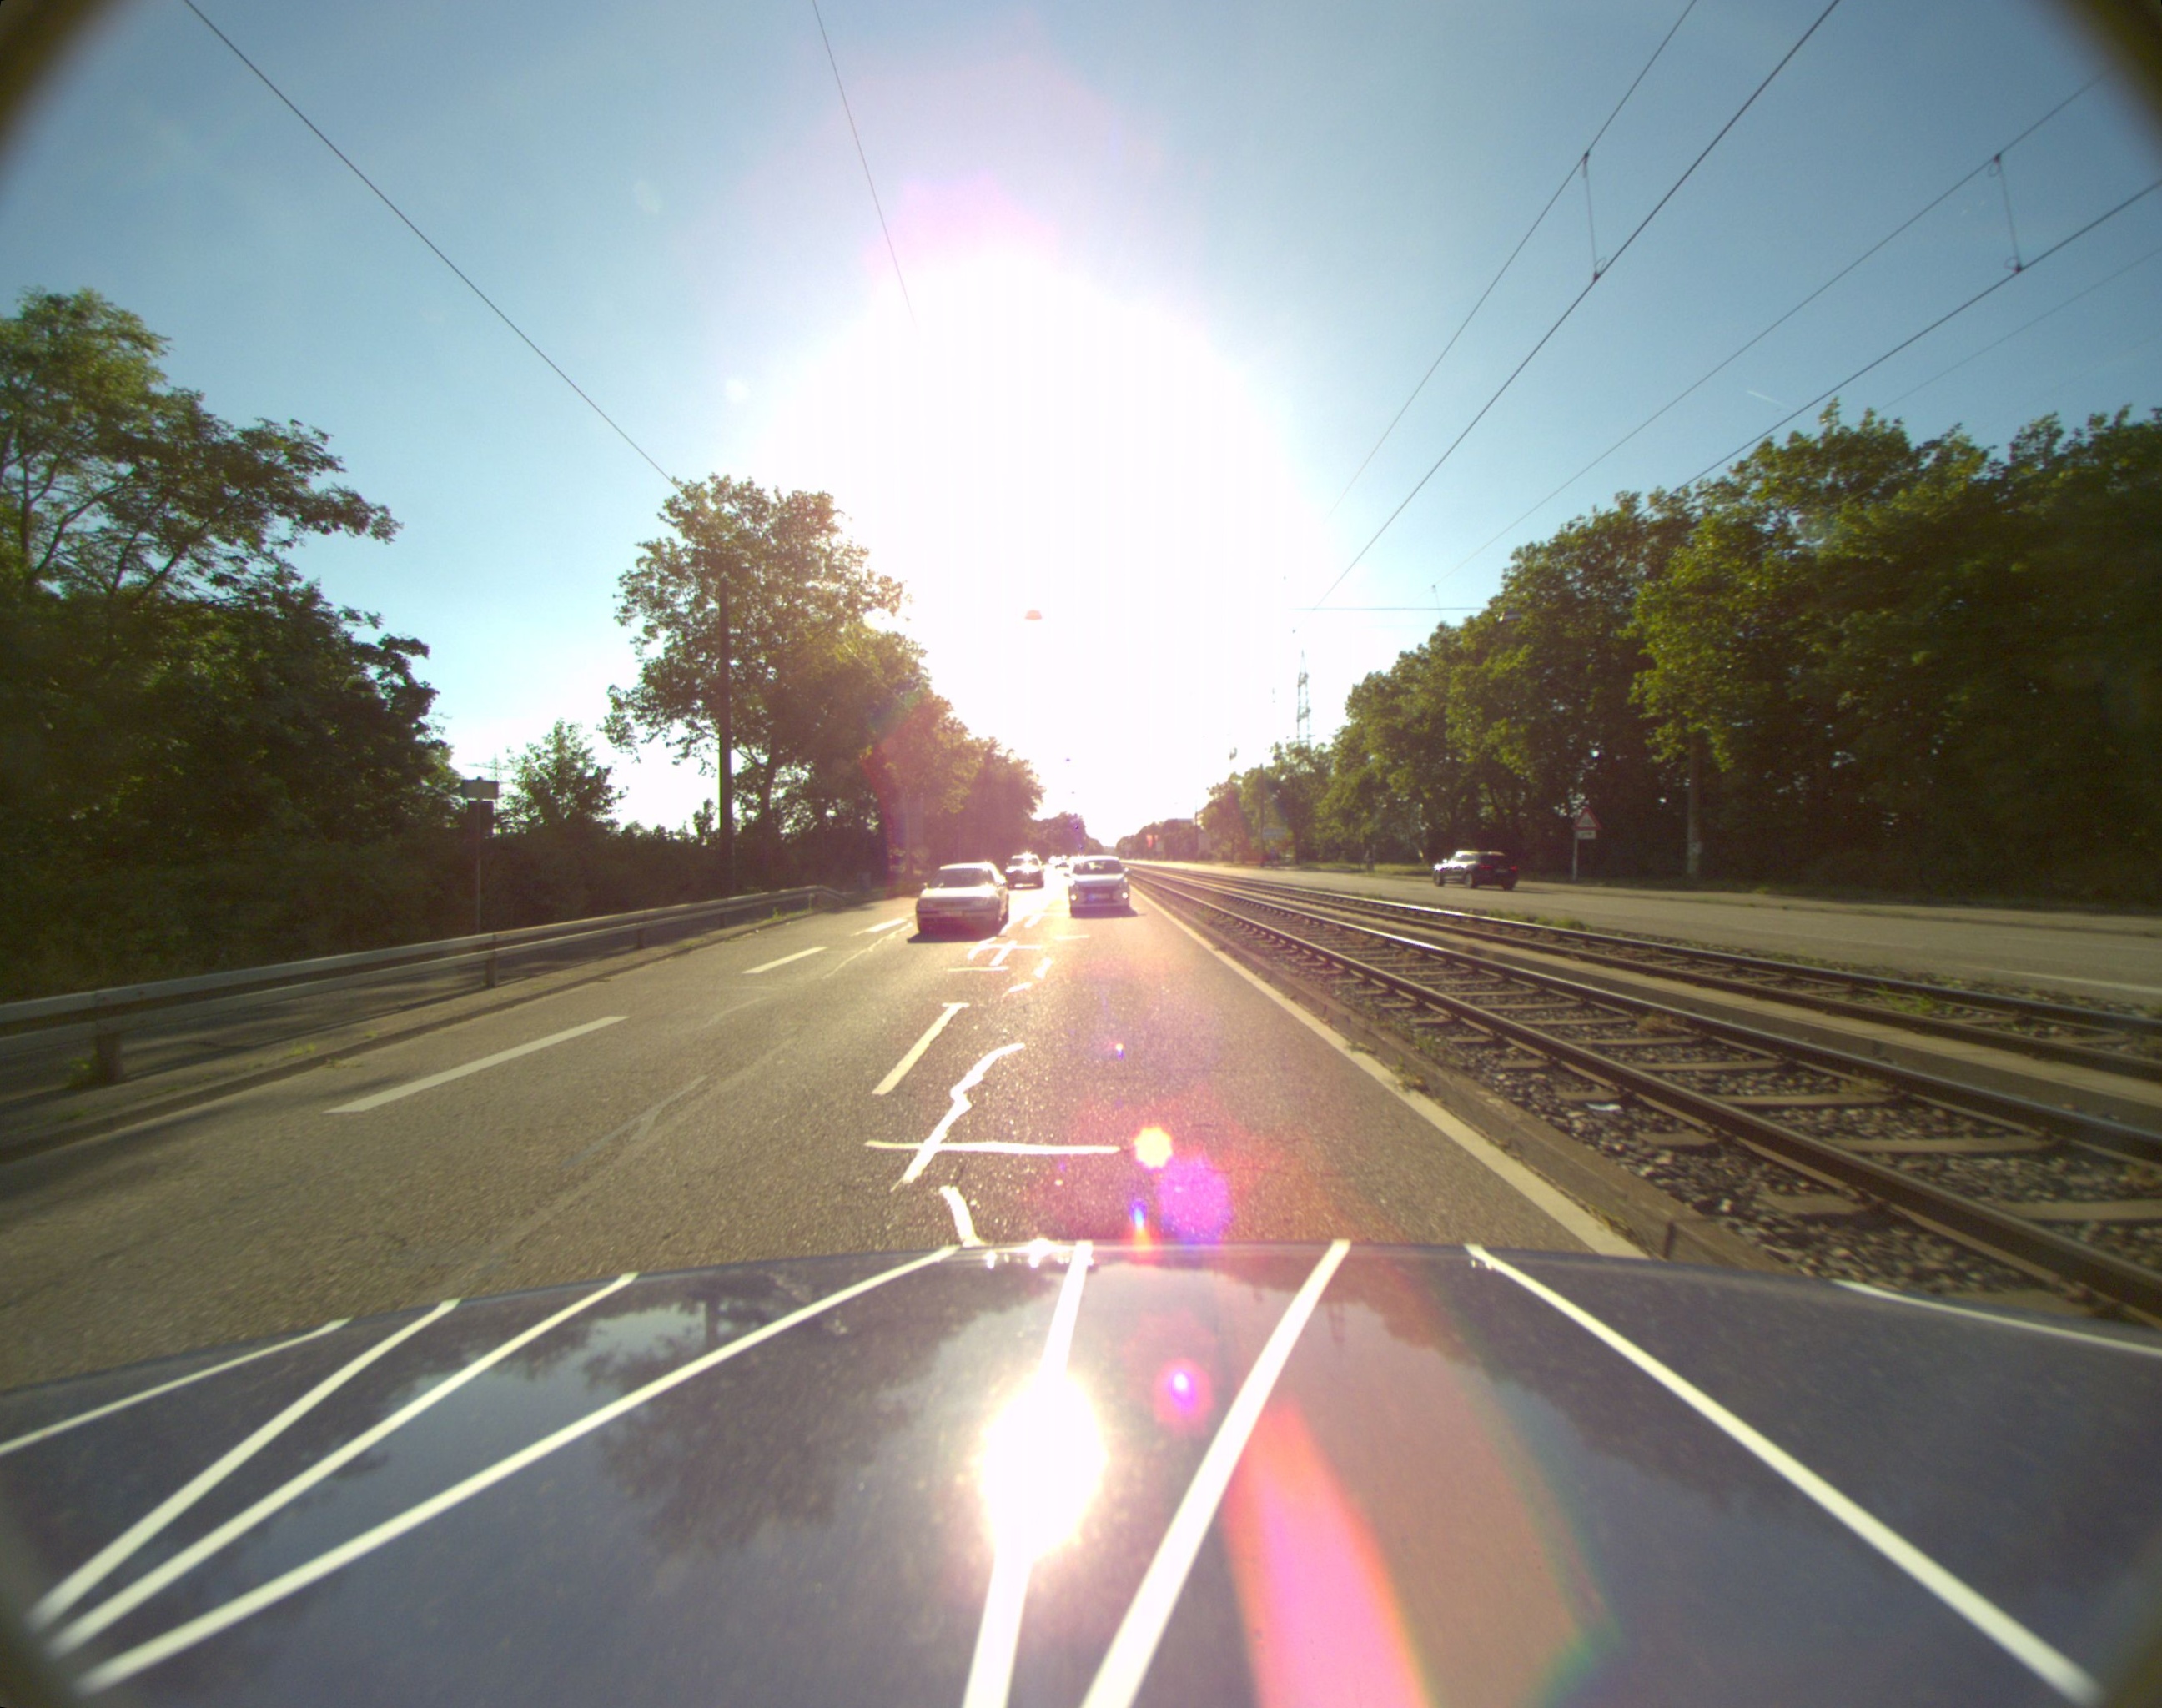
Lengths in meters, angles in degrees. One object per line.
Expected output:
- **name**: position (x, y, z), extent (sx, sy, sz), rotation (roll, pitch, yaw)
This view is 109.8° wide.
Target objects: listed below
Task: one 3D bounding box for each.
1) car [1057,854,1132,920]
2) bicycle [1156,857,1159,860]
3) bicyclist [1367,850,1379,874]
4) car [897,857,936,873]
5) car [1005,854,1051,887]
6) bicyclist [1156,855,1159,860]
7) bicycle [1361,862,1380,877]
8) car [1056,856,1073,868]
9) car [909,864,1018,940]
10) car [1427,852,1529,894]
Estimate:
- **car**: position (0.433, 0.859, 21.738), extent (1.881, 1.591, 4.417), rotation (-2, 0, 2)
- **bicycle**: position (22.402, 1.265, 222.480), extent (0.591, 1.016, 2.185), rotation (0, 0, 0)
- **bicyclist**: position (20.856, 0.533, 54.234), extent (0.551, 1.680, 0.820), rotation (-2, 1, 5)
- **car**: position (-17.601, 1.187, 81.276), extent (4.002, 1.654, 1.888), rotation (0, 0, -16)
- **car**: position (-2.713, 0.822, 39.944), extent (1.881, 1.591, 4.417), rotation (-1, 0, 2)
- **bicyclist**: position (22.394, 0.966, 222.412), extent (0.591, 1.601, 0.967), rotation (0, 1, 0)
- **bicycle**: position (20.621, 1.082, 54.195), extent (0.552, 0.980, 2.239), rotation (-2, 0, 2)
- **car**: position (-2.056, 0.976, 95.077), extent (1.881, 1.449, 4.417), rotation (-1, 0, 2)
- **car**: position (-2.542, 0.991, 17.330), extent (1.725, 1.437, 4.001), rotation (-1, 0, 2)
- **car**: position (17.556, 0.801, 33.928), extent (1.999, 1.676, 4.795), rotation (1, 1, 0)
